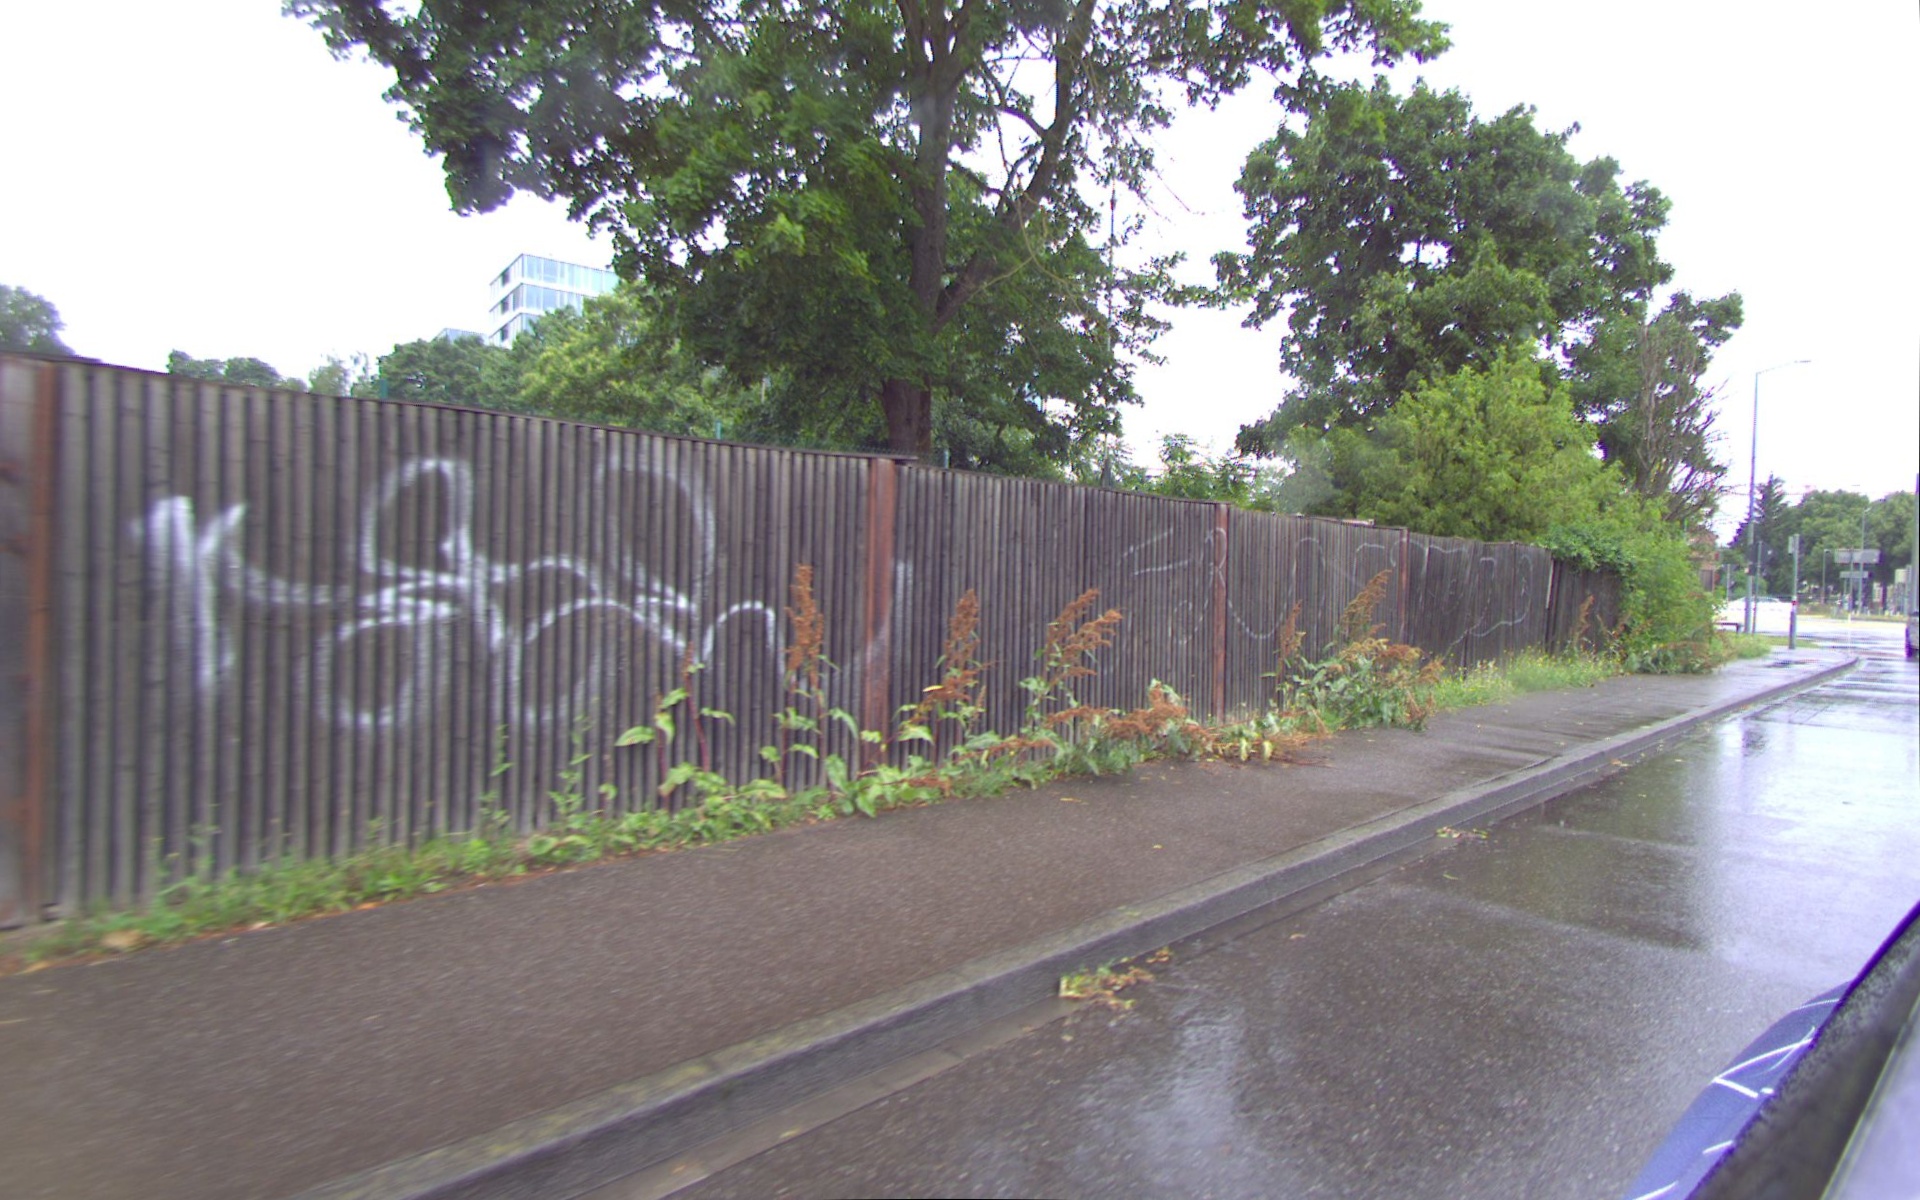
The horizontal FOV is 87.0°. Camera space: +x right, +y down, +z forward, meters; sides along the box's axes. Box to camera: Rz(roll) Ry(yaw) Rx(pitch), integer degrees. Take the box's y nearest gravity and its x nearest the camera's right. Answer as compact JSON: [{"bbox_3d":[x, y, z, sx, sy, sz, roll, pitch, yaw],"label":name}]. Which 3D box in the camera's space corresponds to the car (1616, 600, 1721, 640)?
[{"bbox_3d":[36.416,0.991,52.190,1.878,1.767,4.392,-1,3,-9],"label":"car"}]

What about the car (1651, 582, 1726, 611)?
[{"bbox_3d":[81.456,-0.463,113.276,2.308,2.975,6.441,-2,3,-25],"label":"car"}]
